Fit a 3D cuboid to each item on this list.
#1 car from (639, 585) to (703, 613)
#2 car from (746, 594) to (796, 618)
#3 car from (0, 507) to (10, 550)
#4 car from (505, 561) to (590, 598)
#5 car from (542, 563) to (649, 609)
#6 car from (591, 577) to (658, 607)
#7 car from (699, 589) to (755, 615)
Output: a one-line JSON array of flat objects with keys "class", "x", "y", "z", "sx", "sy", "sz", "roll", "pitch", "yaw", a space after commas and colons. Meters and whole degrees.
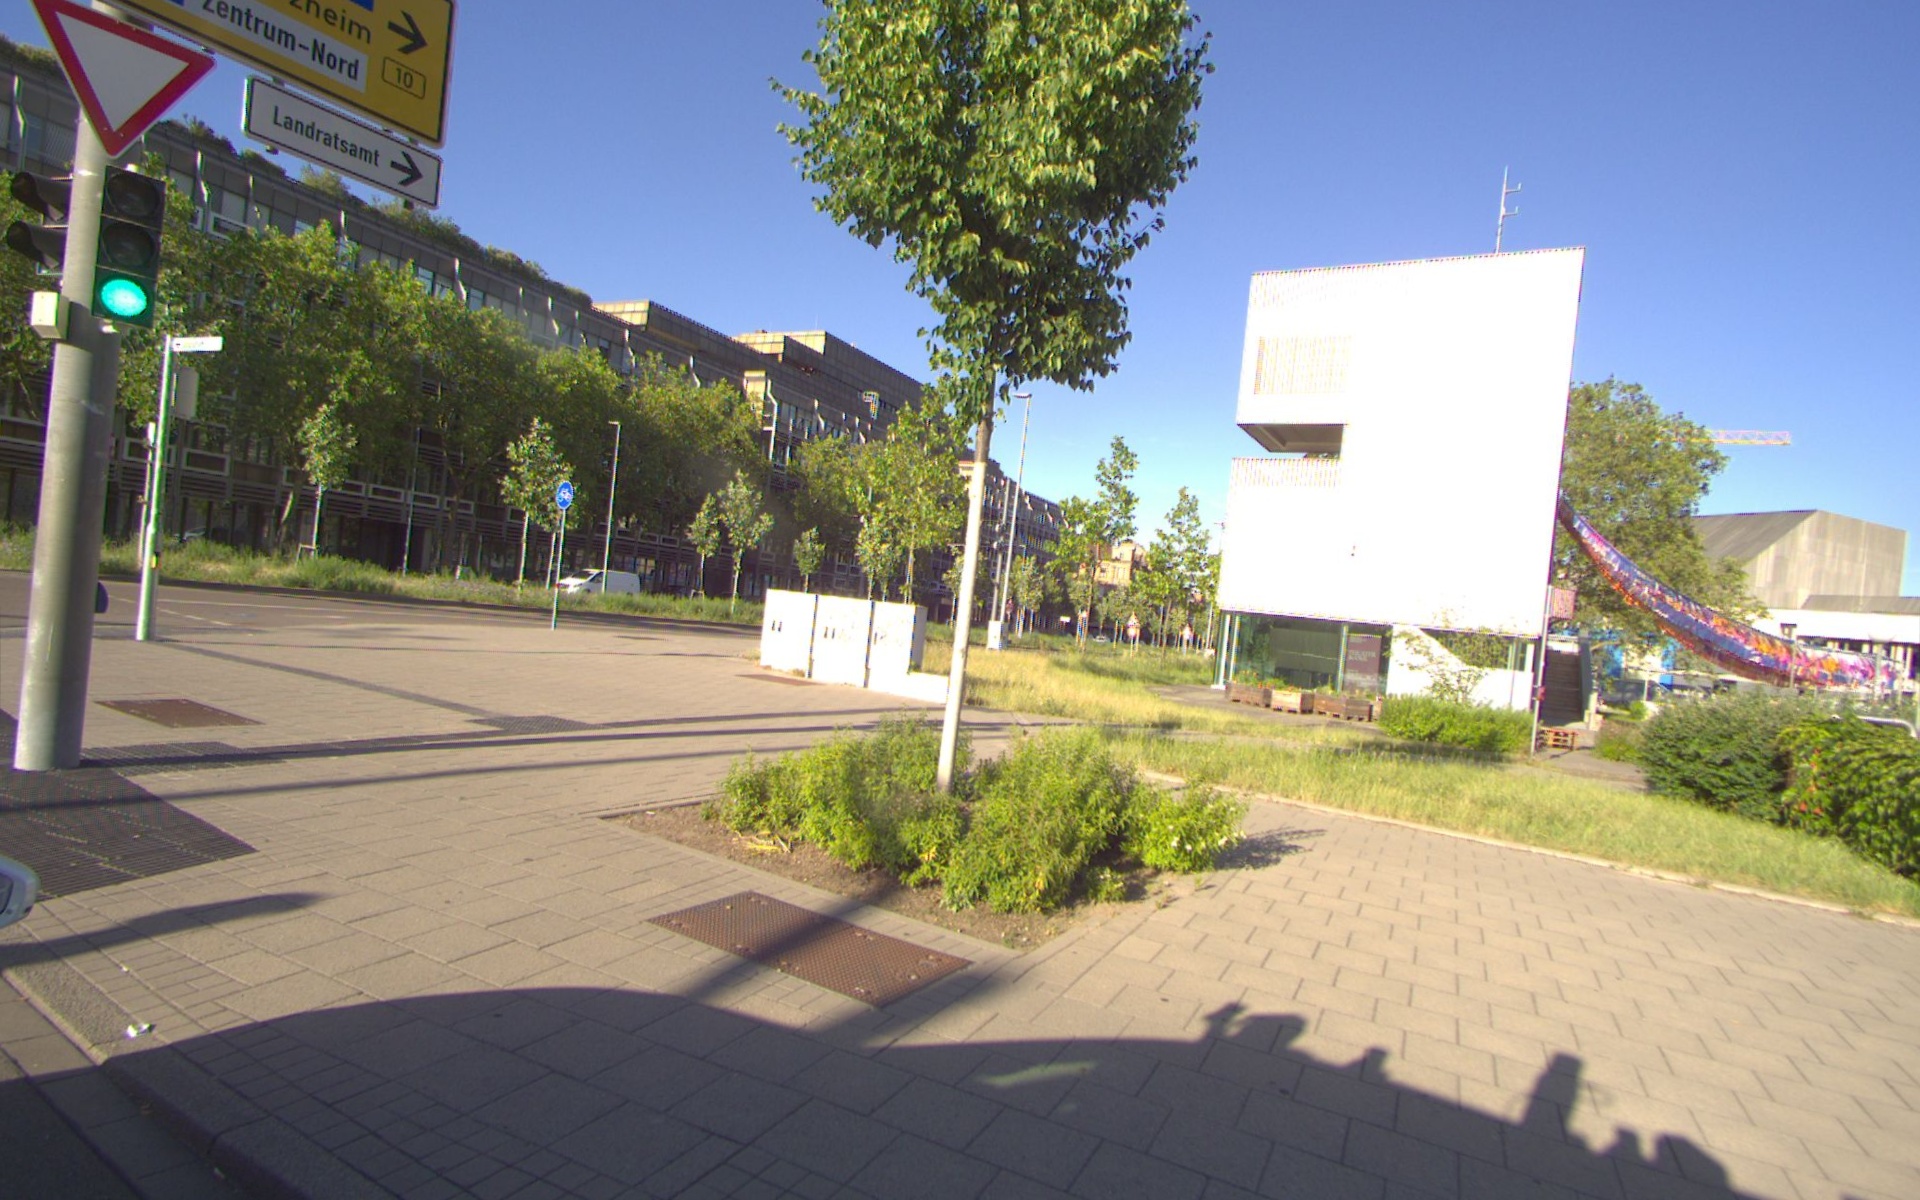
[{"class": "car", "x": -21.167, "y": -0.046, "z": 73.895, "sx": 1.718, "sy": 1.576, "sz": 4.621, "roll": 8, "pitch": -1, "yaw": 25}, {"class": "car", "x": -15.873, "y": 0.531, "z": 84.671, "sx": 1.834, "sy": 1.615, "sz": 4.274, "roll": 5, "pitch": -2, "yaw": 27}, {"class": "car", "x": -35.881, "y": -2.709, "z": 34.888, "sx": 1.816, "sy": 1.503, "sz": 3.873, "roll": 3, "pitch": -2, "yaw": 30}, {"class": "car", "x": -26.152, "y": -1.250, "z": 63.917, "sx": 1.964, "sy": 1.700, "sz": 4.867, "roll": 7, "pitch": -1, "yaw": 24}, {"class": "car", "x": -20.704, "y": -0.764, "z": 57.427, "sx": 2.227, "sy": 2.037, "sz": 5.704, "roll": 4, "pitch": -2, "yaw": 26}, {"class": "car", "x": -23.151, "y": -0.544, "z": 69.628, "sx": 1.966, "sy": 1.539, "sz": 3.994, "roll": 7, "pitch": -1, "yaw": 30}, {"class": "car", "x": -18.466, "y": 0.209, "z": 79.933, "sx": 1.884, "sy": 1.652, "sz": 4.357, "roll": 4, "pitch": -2, "yaw": 28}]
